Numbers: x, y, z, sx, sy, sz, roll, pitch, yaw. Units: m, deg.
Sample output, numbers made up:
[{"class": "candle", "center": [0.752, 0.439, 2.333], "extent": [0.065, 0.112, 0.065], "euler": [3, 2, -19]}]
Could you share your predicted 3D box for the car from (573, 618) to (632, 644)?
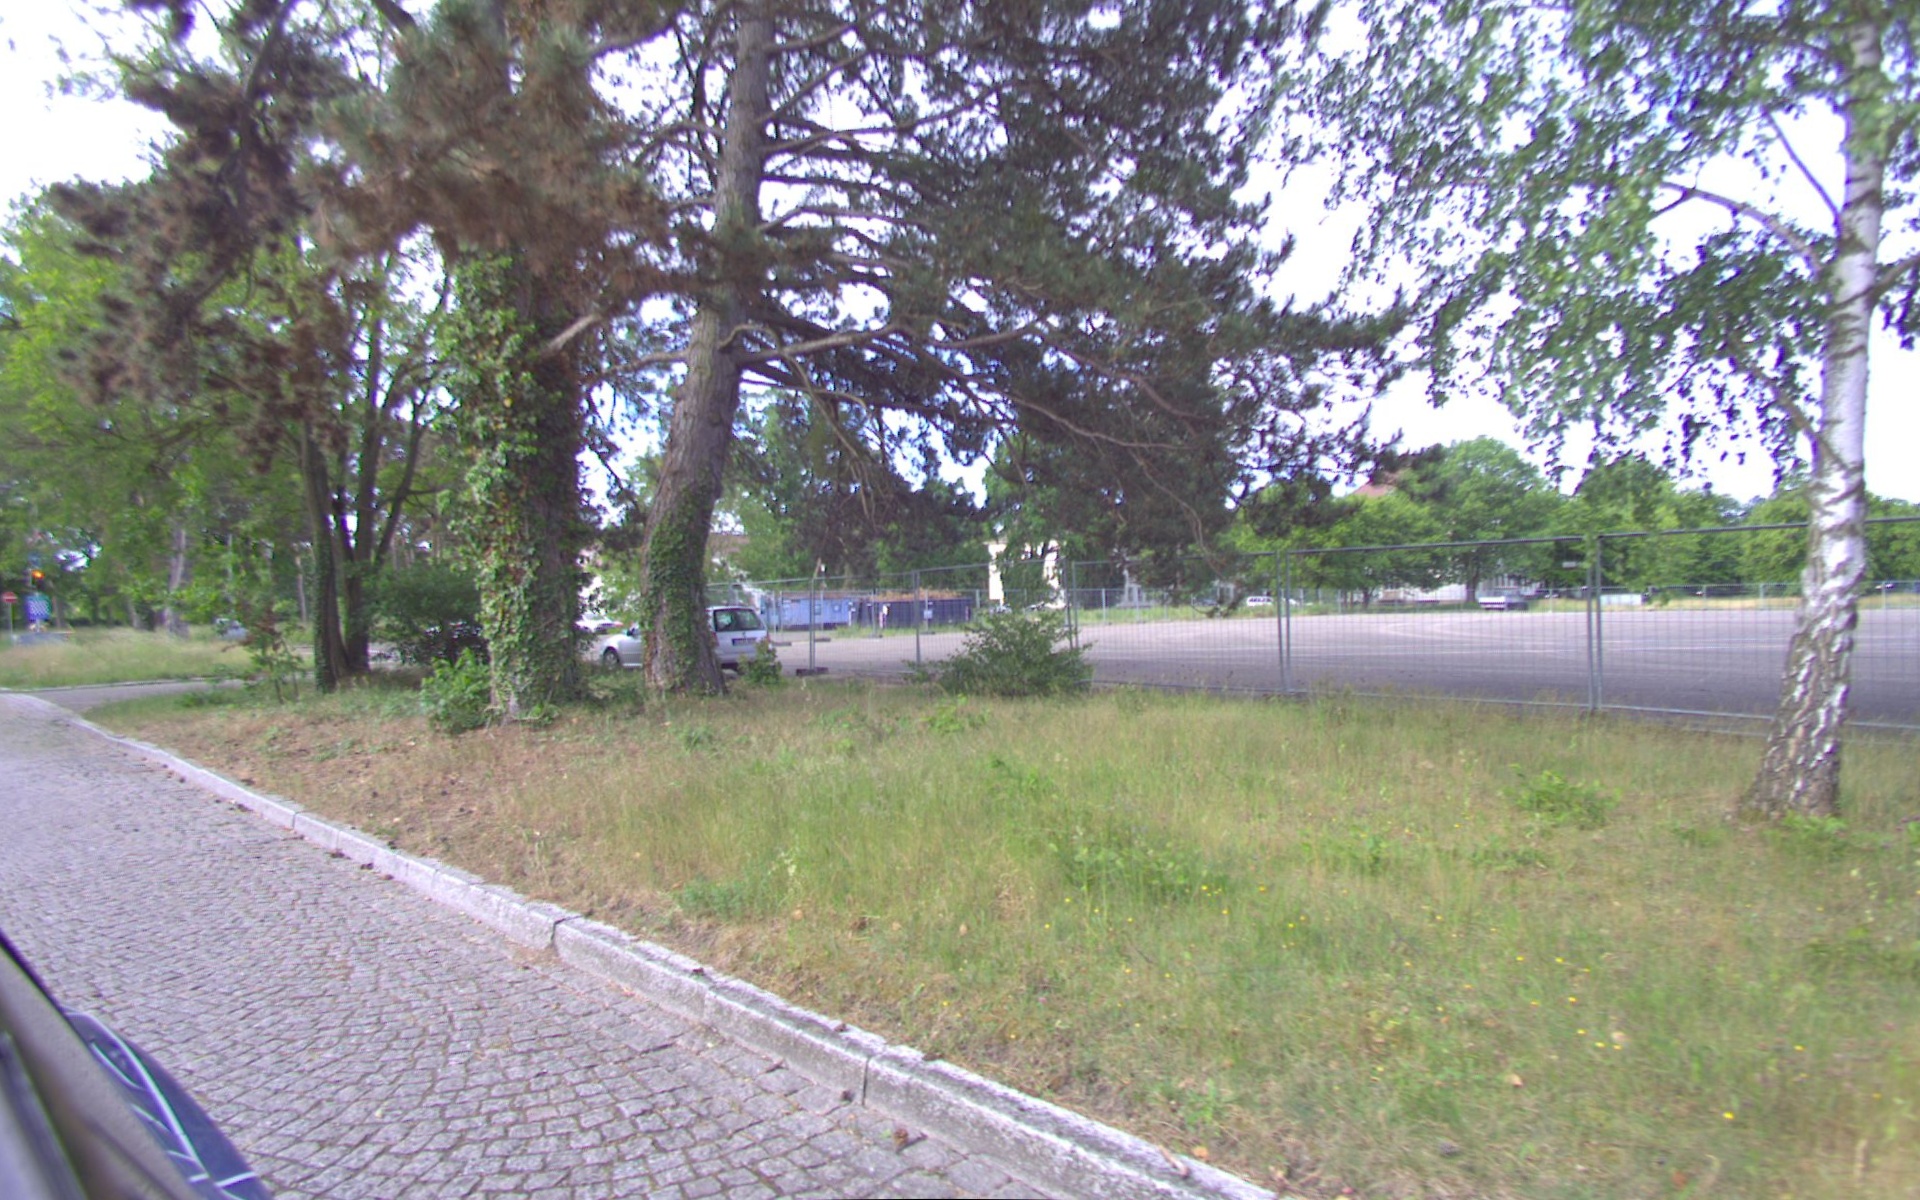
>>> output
[{"class": "car", "center": [-25.443, 2.219, 71.924], "extent": [4.580, 1.571, 1.817], "euler": [-4, -2, 40]}]

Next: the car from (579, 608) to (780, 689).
[{"class": "car", "center": [-5.775, 0.956, 20.579], "extent": [4.463, 1.449, 1.698], "euler": [-2, -1, 40]}]

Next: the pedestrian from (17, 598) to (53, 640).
[{"class": "pedestrian", "center": [-34.962, 0.717, 38.266], "extent": [0.869, 1.529, 0.824], "euler": [-1, -1, -34]}]

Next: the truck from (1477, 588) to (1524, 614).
[{"class": "truck", "center": [49.196, 0.063, 92.004], "extent": [2.373, 2.215, 6.465], "euler": [-2, -1, 41]}]

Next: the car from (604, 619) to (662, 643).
[{"class": "car", "center": [-23.805, 2.263, 73.546], "extent": [4.580, 1.533, 1.817], "euler": [-4, -2, 40]}]

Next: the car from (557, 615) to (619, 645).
[{"class": "car", "center": [-22.000, 1.779, 59.776], "extent": [4.113, 1.533, 1.714], "euler": [-4, -2, 42]}]
